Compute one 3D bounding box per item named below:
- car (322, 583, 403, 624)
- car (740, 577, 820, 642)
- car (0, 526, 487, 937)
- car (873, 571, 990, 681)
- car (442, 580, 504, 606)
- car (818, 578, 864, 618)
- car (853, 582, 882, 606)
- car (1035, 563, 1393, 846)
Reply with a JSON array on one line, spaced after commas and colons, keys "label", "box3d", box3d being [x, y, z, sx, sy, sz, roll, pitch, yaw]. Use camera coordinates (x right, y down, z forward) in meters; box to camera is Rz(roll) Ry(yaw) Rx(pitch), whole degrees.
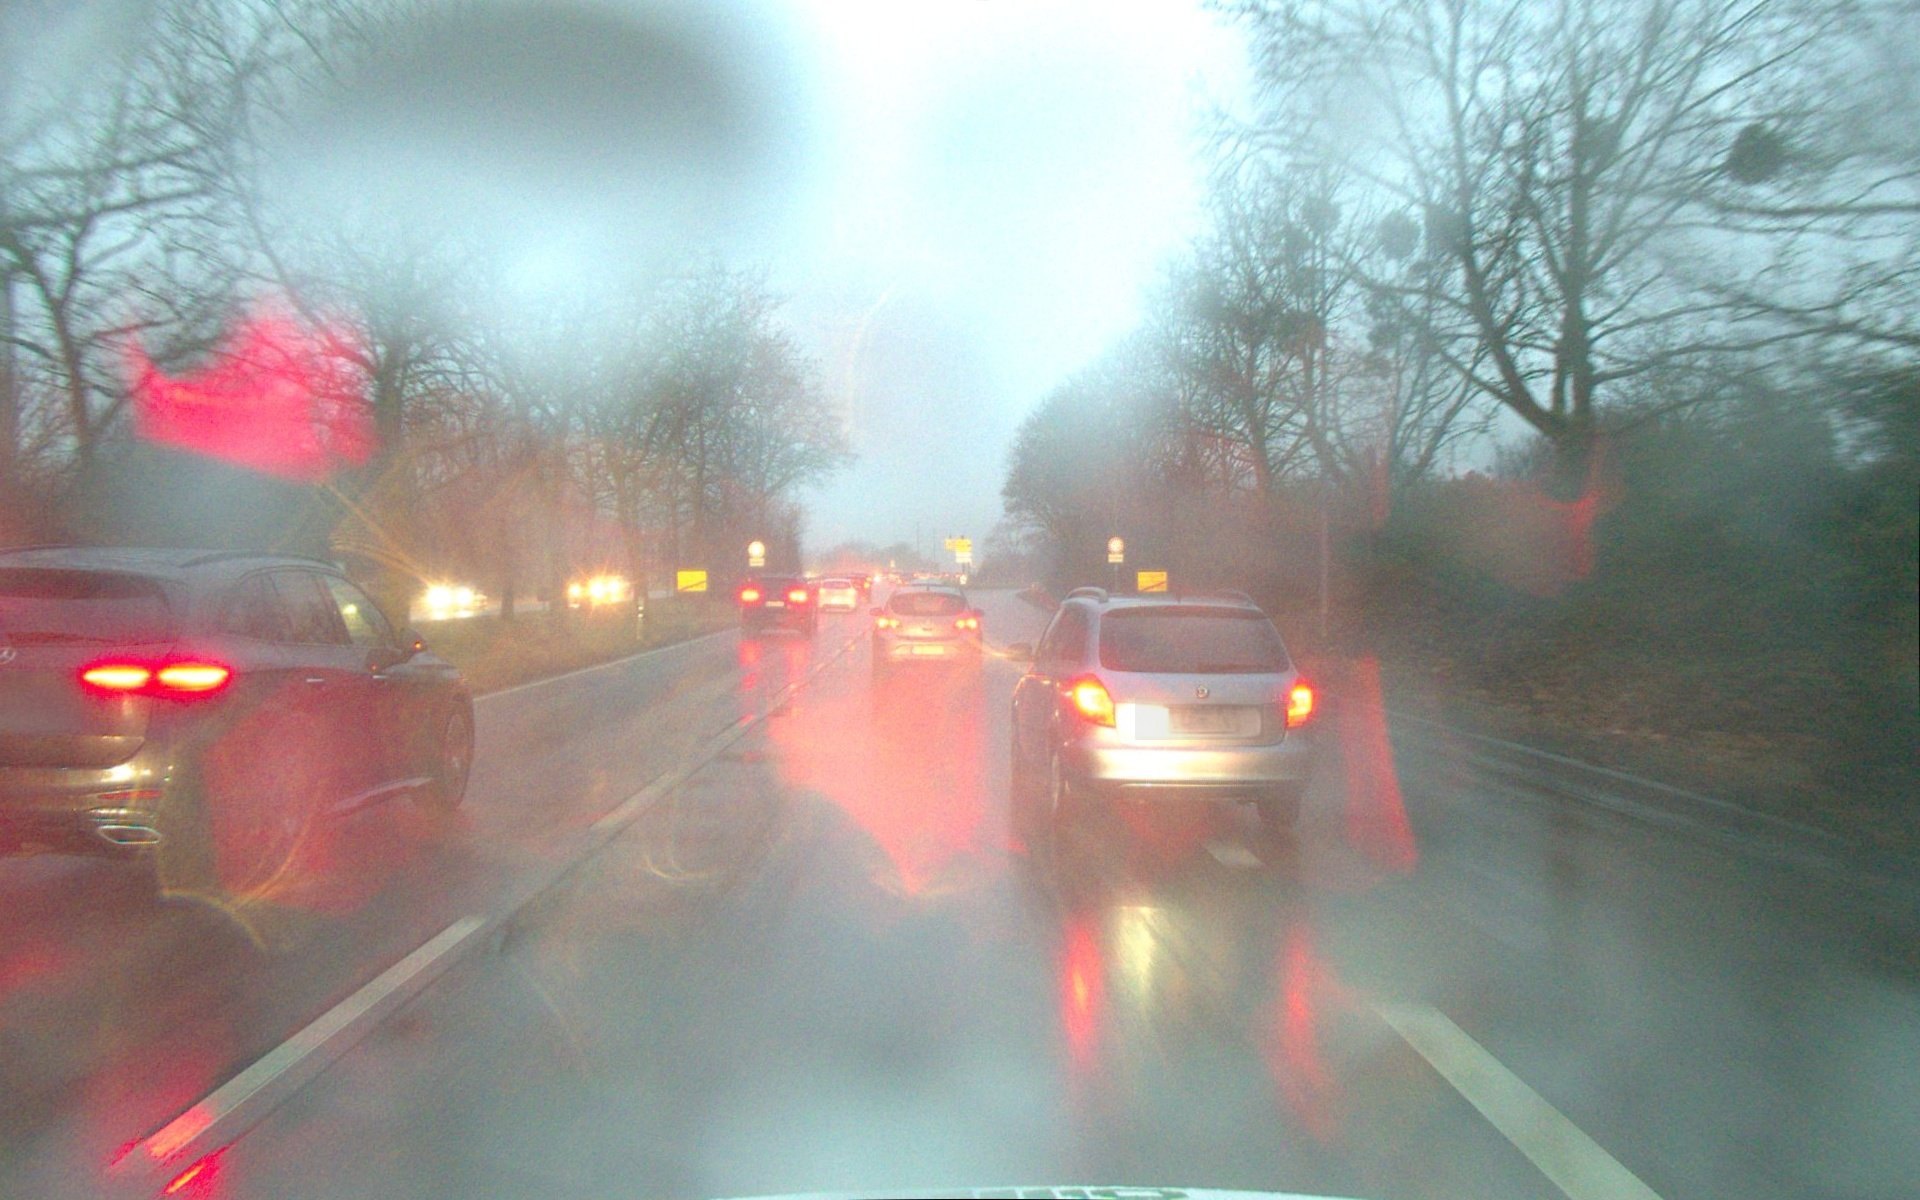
[{"label": "car", "box3d": [-21.303, 0.110, 59.119, 1.605, 1.363, 3.997, 1, 0, -4]}, {"label": "car", "box3d": [-4.806, 0.243, 44.604, 1.785, 1.677, 3.999, 0, 0, -1]}, {"label": "car", "box3d": [-4.019, 0.542, 8.986, 1.786, 1.677, 4.464, 0, 0, -3]}, {"label": "car", "box3d": [-0.470, 0.429, 27.986, 1.785, 1.677, 4.465, 1, -1, -1]}, {"label": "car", "box3d": [-24.664, -0.342, 83.826, 1.953, 1.212, 3.999, 1, -1, 0]}, {"label": "car", "box3d": [-5.144, -0.080, 71.963, 1.785, 1.677, 3.999, 0, 0, -2]}, {"label": "car", "box3d": [-5.216, -0.330, 93.261, 1.474, 1.362, 3.999, 0, 0, -1]}, {"label": "car", "box3d": [1.646, 0.663, 12.269, 1.894, 1.677, 4.465, 1, -1, -1]}]
